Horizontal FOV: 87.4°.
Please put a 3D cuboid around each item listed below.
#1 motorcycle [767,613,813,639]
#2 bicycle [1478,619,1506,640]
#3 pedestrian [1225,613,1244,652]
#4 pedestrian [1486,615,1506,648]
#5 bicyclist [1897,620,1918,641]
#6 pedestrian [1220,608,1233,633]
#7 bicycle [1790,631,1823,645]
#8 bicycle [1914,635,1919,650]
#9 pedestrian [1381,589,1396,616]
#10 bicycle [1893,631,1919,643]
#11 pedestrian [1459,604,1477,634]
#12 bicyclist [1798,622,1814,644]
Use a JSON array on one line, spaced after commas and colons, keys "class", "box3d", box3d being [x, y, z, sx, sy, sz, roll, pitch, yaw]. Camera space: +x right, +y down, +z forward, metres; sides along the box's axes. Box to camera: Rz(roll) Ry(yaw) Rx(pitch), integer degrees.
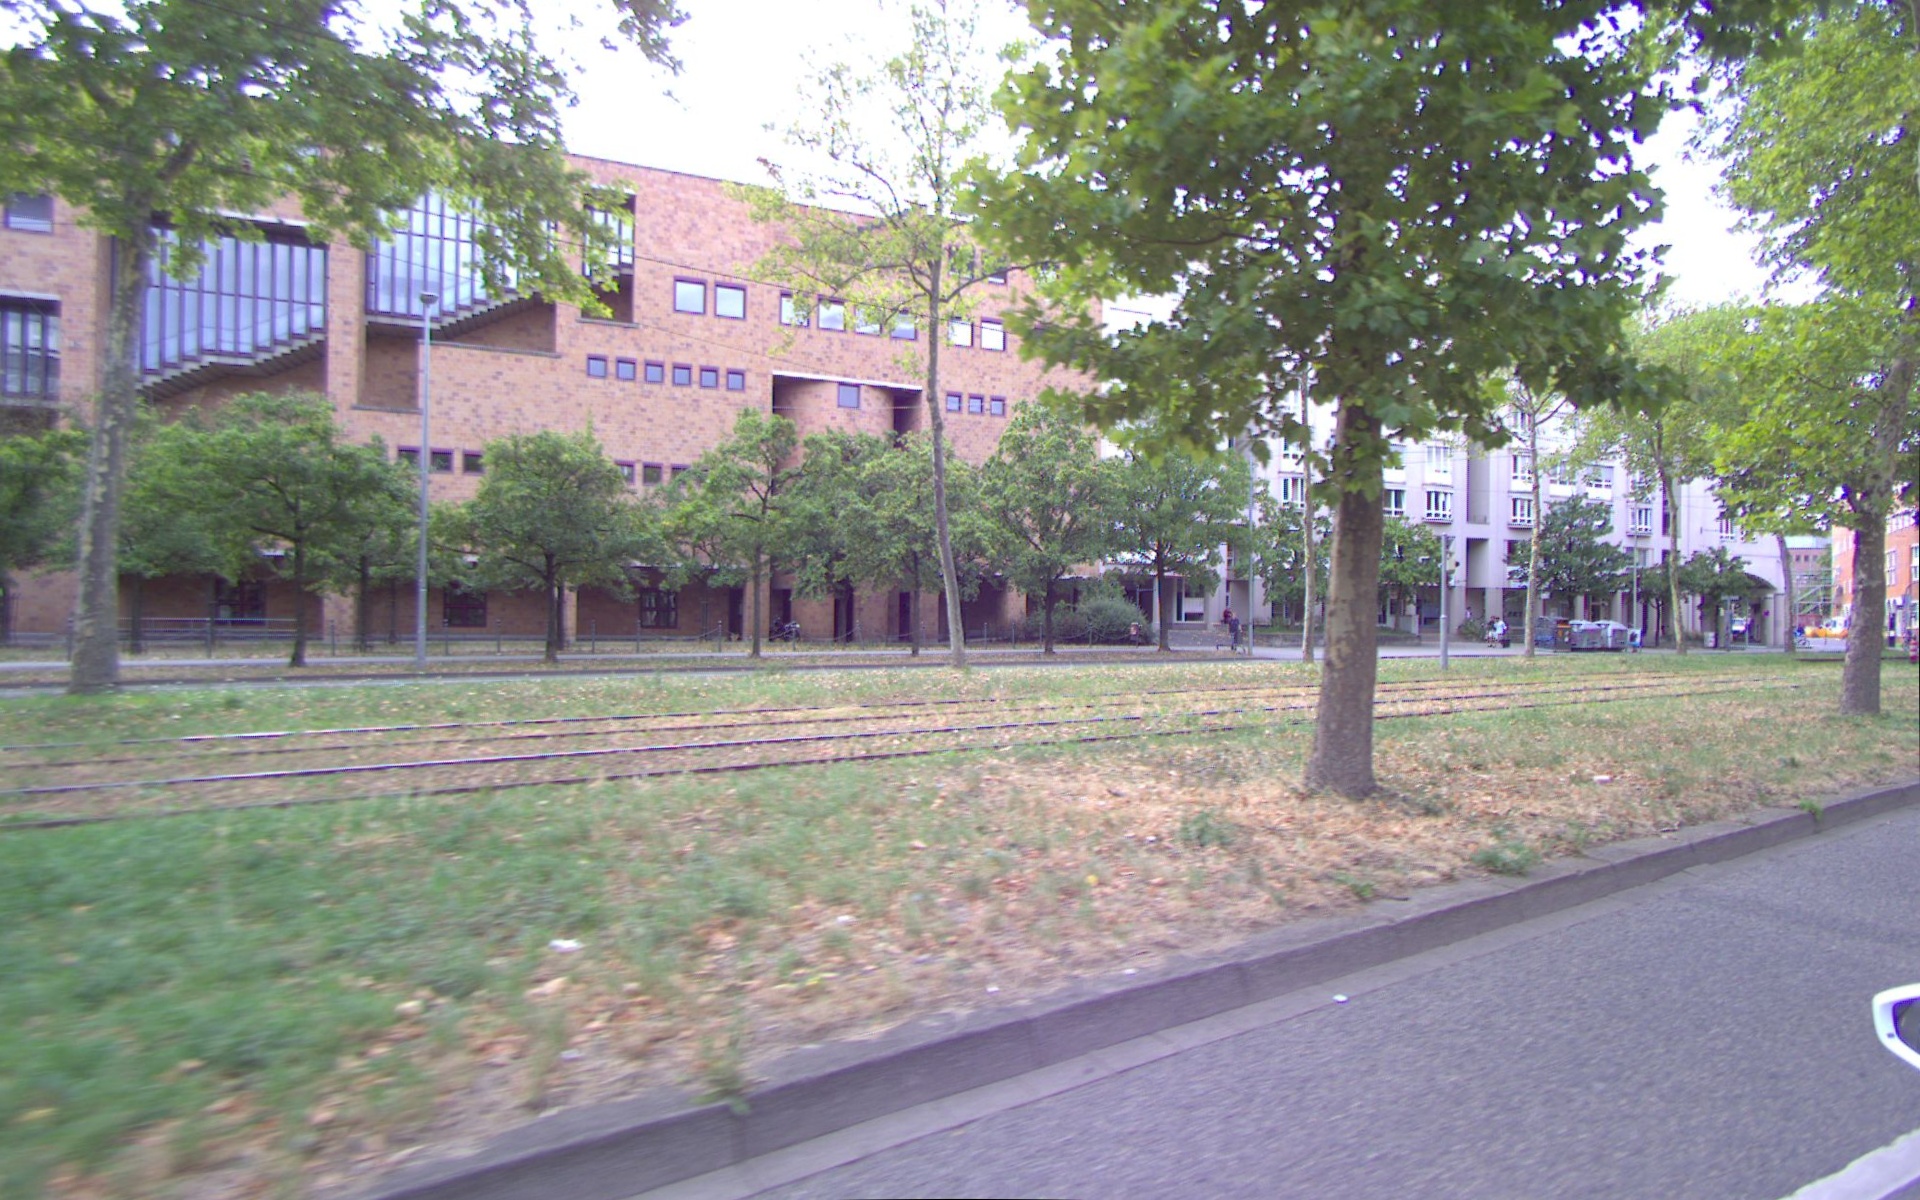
[{"class": "motorcycle", "box3d": [-7.910, 1.197, 46.761, 2.160, 1.207, 0.795, 0, -1, 35]}, {"class": "bicycle", "box3d": [32.308, 1.799, 61.007, 1.815, 1.228, 0.532, 1, 0, -26]}, {"class": "pedestrian", "box3d": [12.308, 1.438, 45.059, 0.618, 1.728, 0.550, 1, 0, -28]}, {"class": "pedestrian", "box3d": [29.006, 1.702, 54.341, 0.873, 1.728, 0.550, 1, 0, -29]}, {"class": "bicyclist", "box3d": [72.442, 2.356, 76.767, 1.014, 1.583, 0.582, 0, -1, 21]}, {"class": "pedestrian", "box3d": [14.609, 1.122, 55.029, 0.546, 1.340, 0.456, 1, 0, -22]}, {"class": "bicycle", "box3d": [65.622, 2.942, 77.847, 1.840, 1.106, 0.578, 1, 0, 21]}, {"class": "bicycle", "box3d": [72.007, 3.140, 74.867, 1.853, 1.106, 0.688, 1, 0, -27]}, {"class": "pedestrian", "box3d": [26.957, 0.149, 63.193, 0.650, 1.694, 0.635, 1, 0, -24]}, {"class": "bicycle", "box3d": [72.629, 2.805, 76.666, 1.949, 0.847, 0.579, 1, 0, 21]}, {"class": "pedestrian", "box3d": [31.829, 1.195, 62.930, 0.683, 1.833, 0.768, 1, 0, -23]}, {"class": "bicyclist", "box3d": [65.580, 2.564, 77.869, 0.769, 1.695, 0.573, 1, 0, 21]}]
